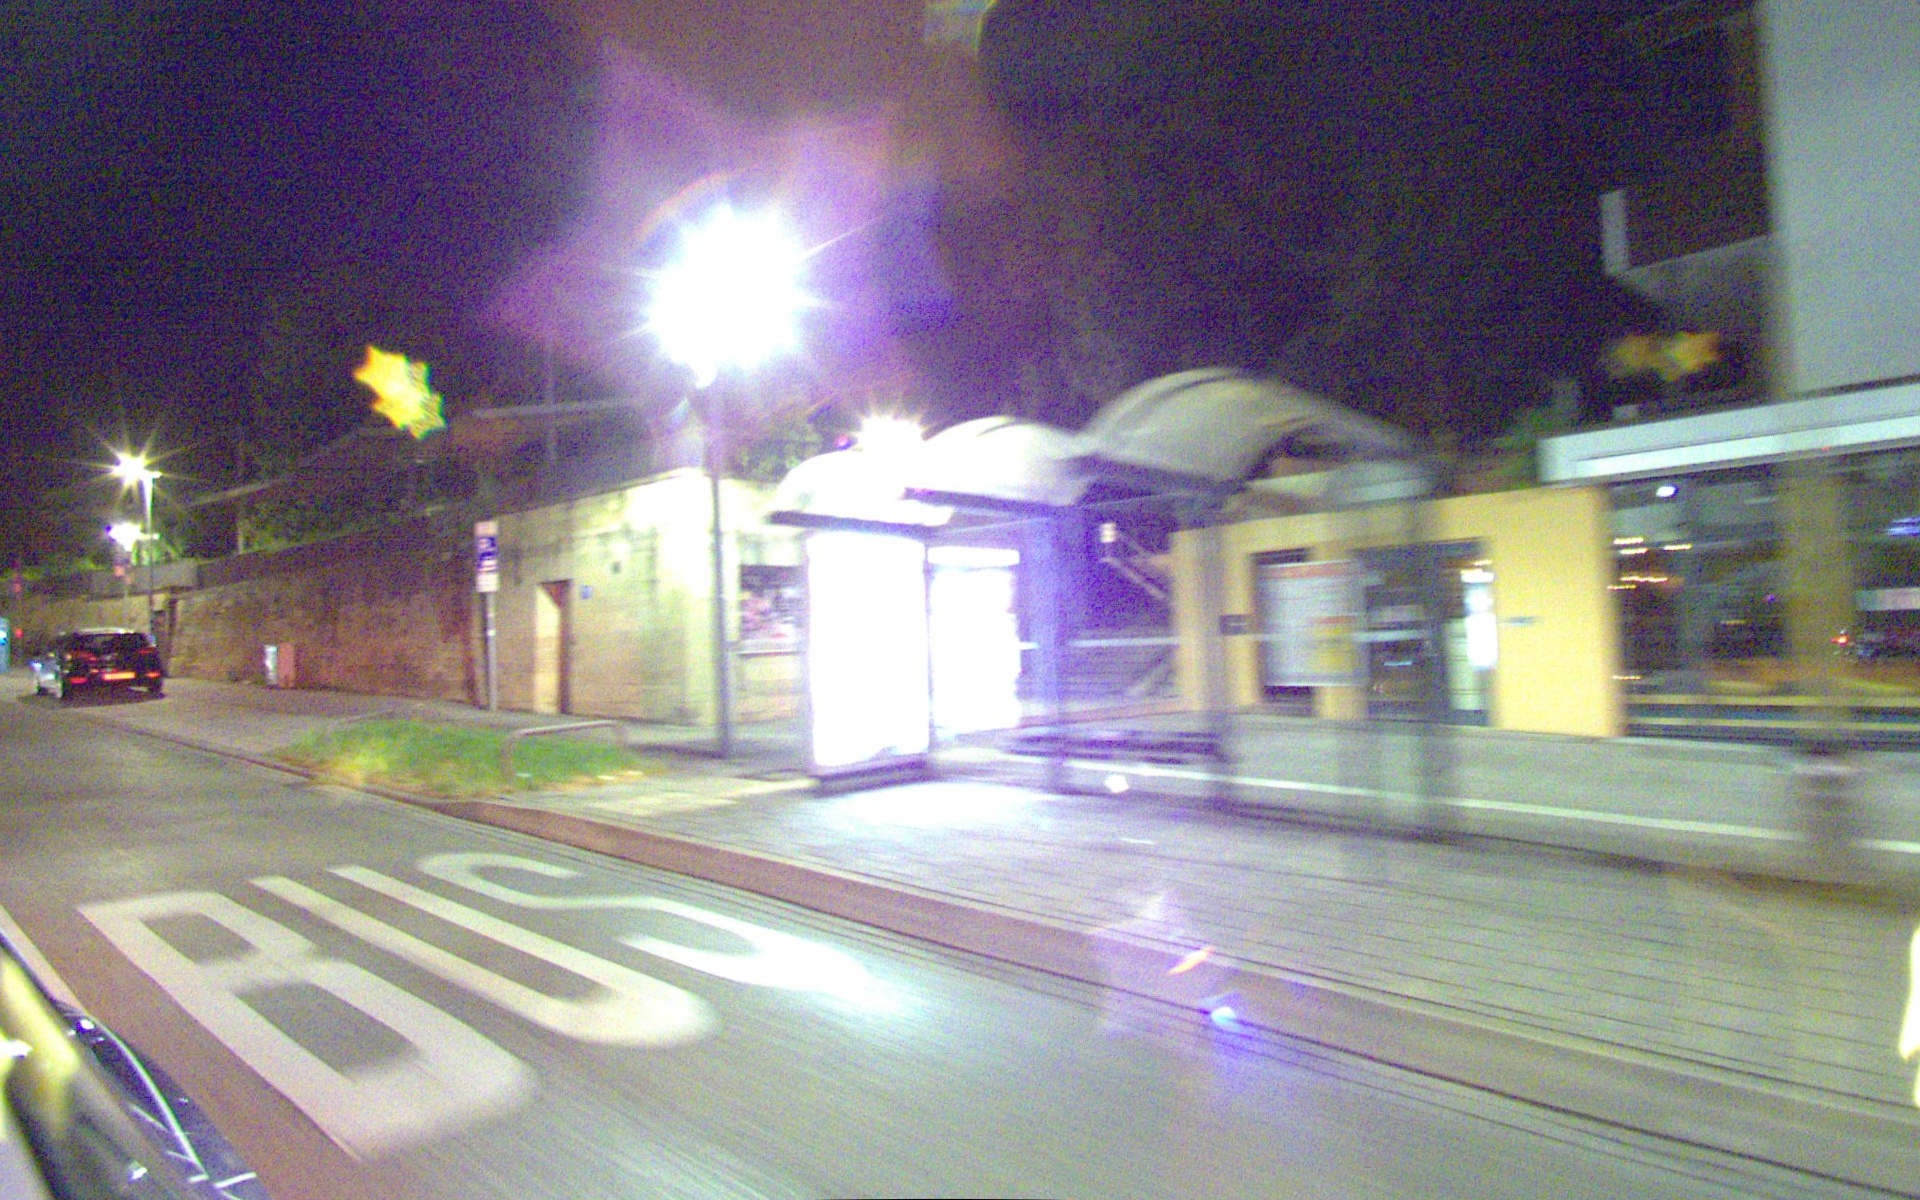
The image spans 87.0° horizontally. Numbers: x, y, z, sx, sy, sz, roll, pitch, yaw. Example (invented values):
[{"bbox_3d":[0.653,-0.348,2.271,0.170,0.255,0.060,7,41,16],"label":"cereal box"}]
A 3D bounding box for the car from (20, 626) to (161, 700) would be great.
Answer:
[{"bbox_3d":[-19.558,1.344,22.718,4.123,1.447,1.675,-1,0,39],"label":"car"}]
